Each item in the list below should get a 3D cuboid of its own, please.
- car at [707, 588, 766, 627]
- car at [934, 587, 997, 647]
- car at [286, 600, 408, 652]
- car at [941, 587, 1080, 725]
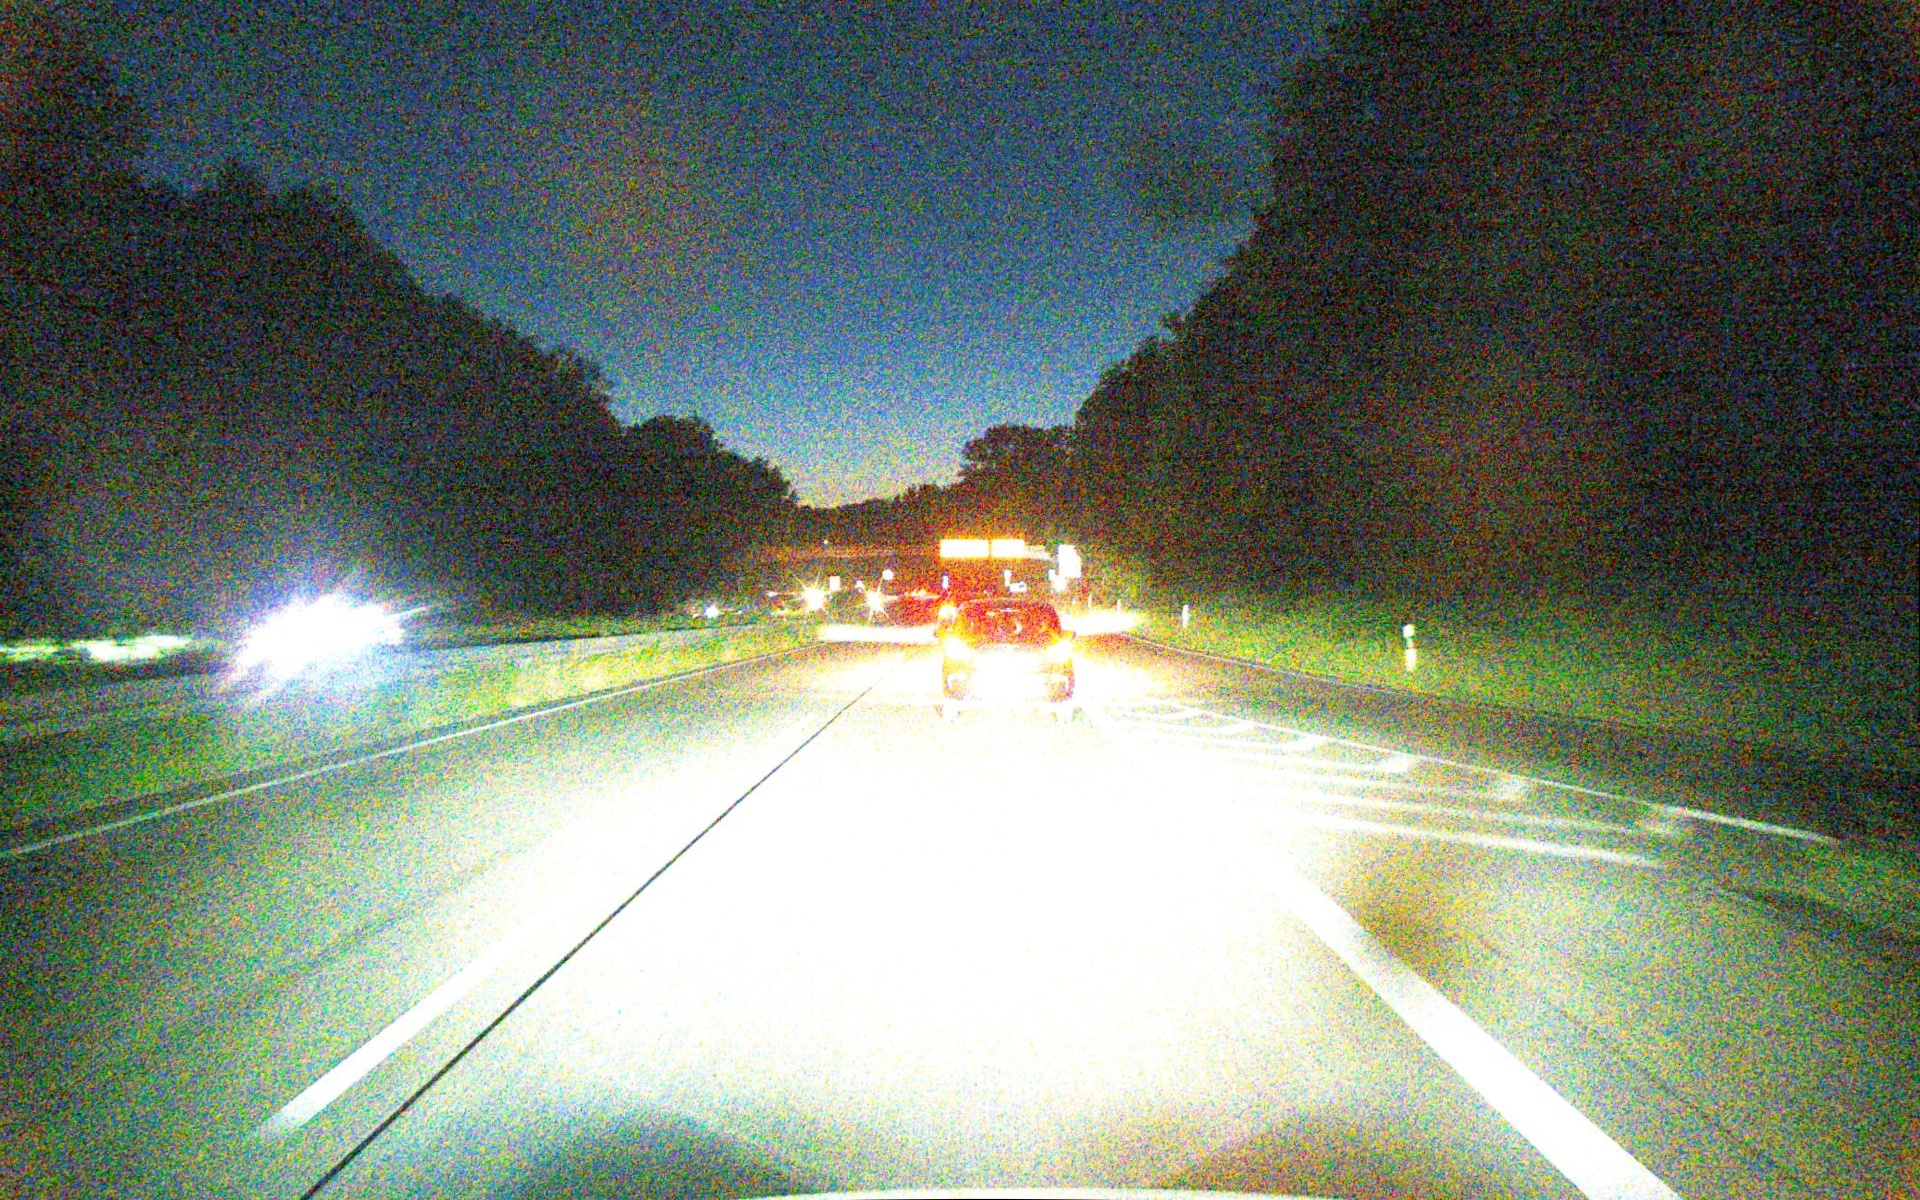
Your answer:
[{"bbox_3d":[-10.612,0.339,78.885,1.917,1.764,5.081,-1,0,2],"label":"car"},{"bbox_3d":[0.184,0.470,50.644,1.867,1.728,4.001,0,1,1],"label":"car"},{"bbox_3d":[-17.757,0.720,48.160,1.735,1.436,4.844,1,0,0],"label":"car"},{"bbox_3d":[0.569,0.637,21.083,1.556,1.534,4.000,2,0,-1],"label":"car"}]
